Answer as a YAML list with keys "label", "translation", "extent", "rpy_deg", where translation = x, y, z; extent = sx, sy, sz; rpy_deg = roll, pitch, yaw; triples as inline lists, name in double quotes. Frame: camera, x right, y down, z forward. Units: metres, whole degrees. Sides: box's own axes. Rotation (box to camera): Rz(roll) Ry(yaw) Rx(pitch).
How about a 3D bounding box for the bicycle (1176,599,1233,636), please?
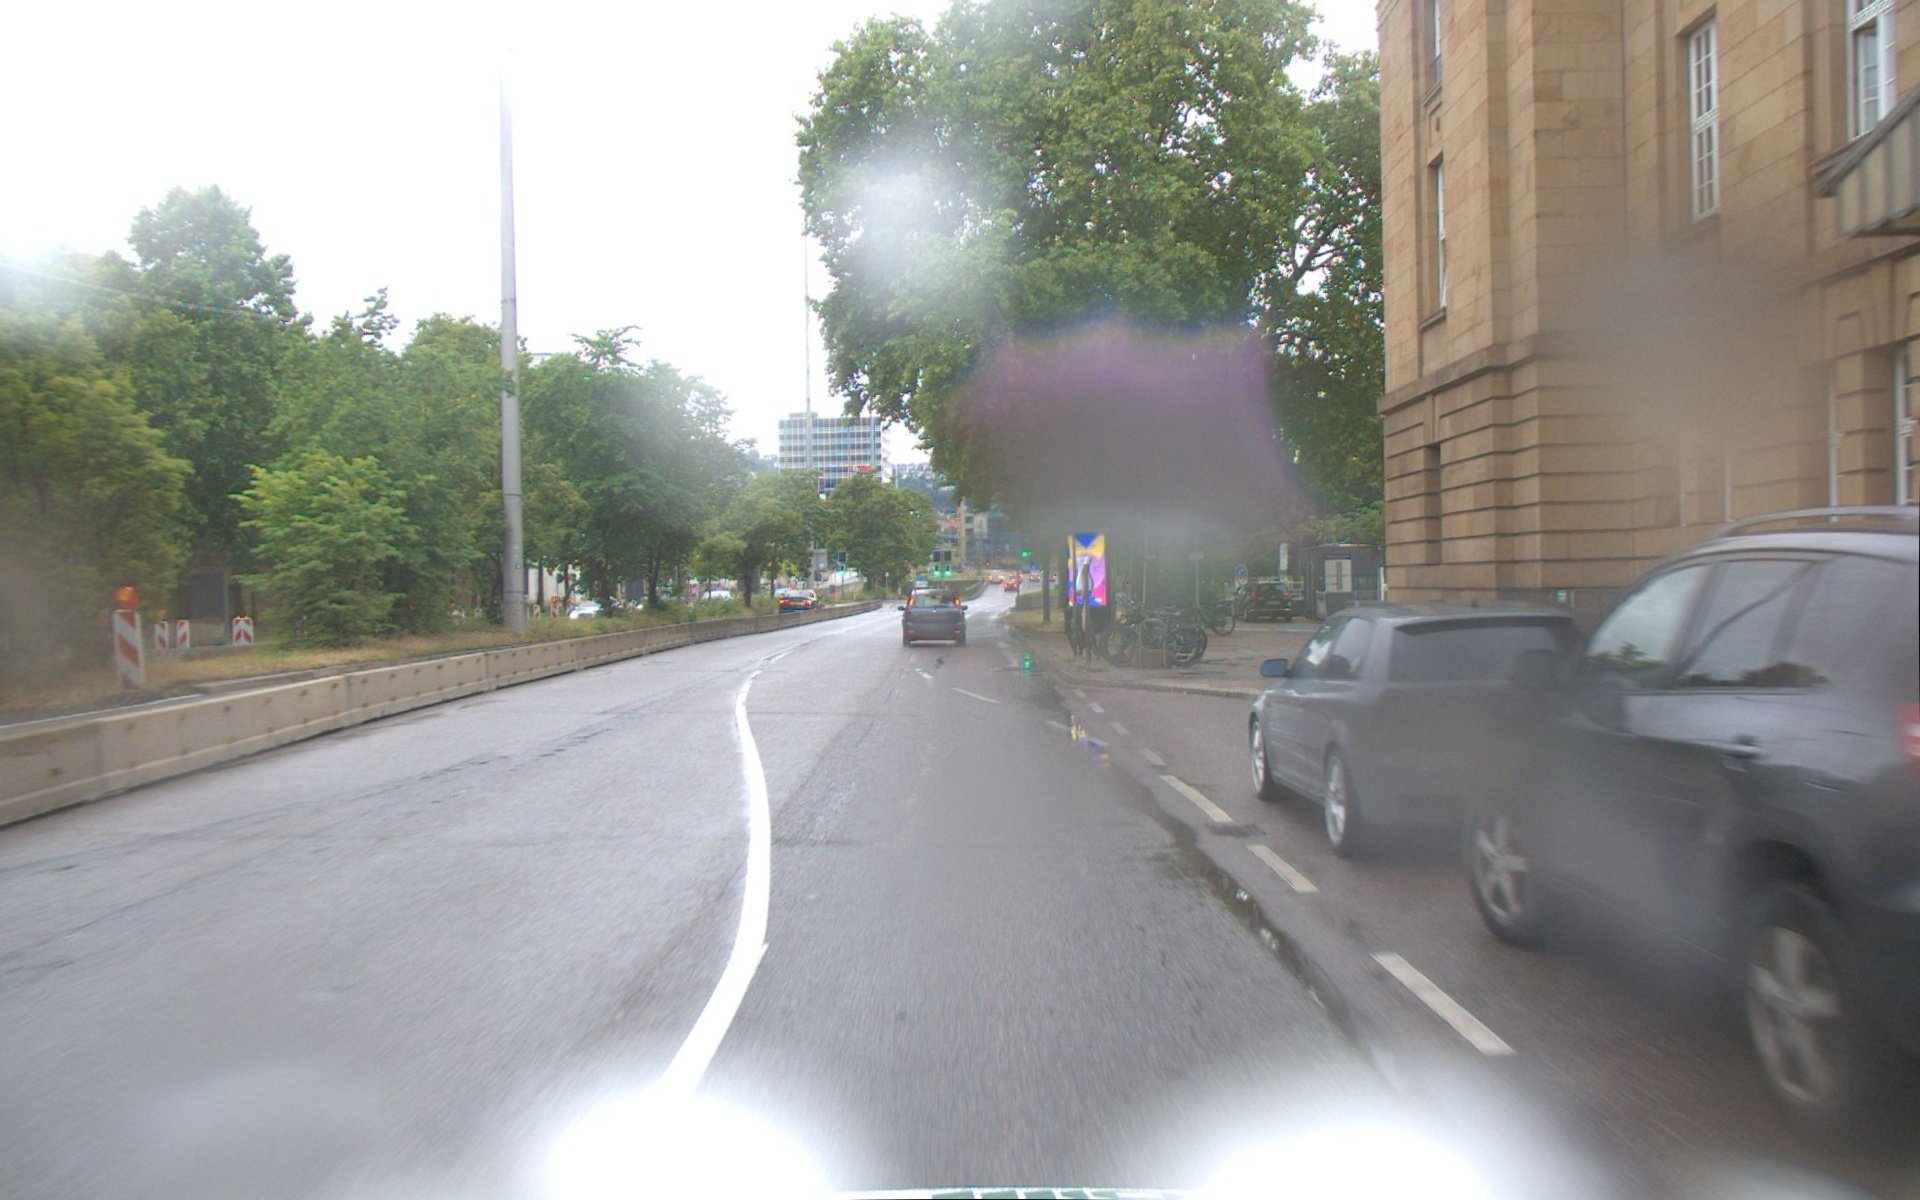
- label: "bicycle"
  translation: [7.102, 0.514, 48.068]
  extent: [1.606, 1.038, 0.575]
  rpy_deg: [1, 0, 5]

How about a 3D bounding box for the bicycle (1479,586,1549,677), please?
- label: "bicycle"
  translation: [8.006, 0.434, 23.948]
  extent: [0.444, 1.273, 1.599]
  rpy_deg: [1, 0, -1]

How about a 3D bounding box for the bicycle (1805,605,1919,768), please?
- label: "bicycle"
  translation: [7.533, 0.665, 13.399]
  extent: [0.454, 1.236, 1.691]
  rpy_deg: [-1, 0, -2]

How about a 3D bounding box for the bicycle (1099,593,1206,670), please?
- label: "bicycle"
  translation: [3.466, 0.569, 29.841]
  extent: [1.866, 1.356, 0.651]
  rpy_deg: [-1, 0, 2]

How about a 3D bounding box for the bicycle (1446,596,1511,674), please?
- label: "bicycle"
  translation: [7.768, 0.515, 24.827]
  extent: [0.345, 1.099, 1.789]
  rpy_deg: [-3, -1, 0]

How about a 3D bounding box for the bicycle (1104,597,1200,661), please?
- label: "bicycle"
  translation: [3.399, 0.512, 29.413]
  extent: [1.644, 1.109, 0.651]
  rpy_deg: [-1, 0, 2]

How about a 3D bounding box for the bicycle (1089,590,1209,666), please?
- label: "bicycle"
  translation: [3.476, 0.506, 30.467]
  extent: [2.145, 1.360, 0.651]
  rpy_deg: [-1, 0, 2]

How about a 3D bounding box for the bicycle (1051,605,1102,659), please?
- label: "bicycle"
  translation: [2.237, 0.598, 31.613]
  extent: [0.655, 0.984, 1.638]
  rpy_deg: [-1, 0, 15]

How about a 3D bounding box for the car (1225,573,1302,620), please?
- label: "car"
  translation: [11.518, -0.188, 63.119]
  extent: [1.953, 1.637, 5.236]
  rpy_deg: [-1, 2, -1]

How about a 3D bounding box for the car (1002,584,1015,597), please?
- label: "car"
  translation: [6.819, -1.320, 234.034]
  extent: [1.703, 1.802, 4.001]
  rpy_deg: [-3, -1, 3]

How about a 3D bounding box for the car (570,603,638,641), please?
- label: "car"
  translation: [-17.078, 1.037, 79.579]
  extent: [1.952, 1.653, 4.809]
  rpy_deg: [-3, -1, 2]

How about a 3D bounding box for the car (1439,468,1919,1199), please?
- label: "car"
  translation: [3.053, 0.627, 5.296]
  extent: [1.952, 1.812, 4.189]
  rpy_deg: [-1, 0, 2]

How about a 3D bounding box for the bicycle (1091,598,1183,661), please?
- label: "bicycle"
  translation: [3.280, 0.538, 30.718]
  extent: [1.644, 1.142, 0.602]
  rpy_deg: [-1, 0, 2]

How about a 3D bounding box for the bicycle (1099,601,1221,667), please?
- label: "bicycle"
  translation: [3.370, 0.565, 27.935]
  extent: [1.945, 1.078, 0.759]
  rpy_deg: [-1, 0, -3]

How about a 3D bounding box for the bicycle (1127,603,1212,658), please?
- label: "bicycle"
  translation: [3.977, 0.582, 31.453]
  extent: [1.556, 1.012, 0.525]
  rpy_deg: [-1, 0, 2]

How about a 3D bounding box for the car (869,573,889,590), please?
- label: "car"
  translation: [-8.402, -1.889, 171.974]
  extent: [1.954, 1.661, 3.998]
  rpy_deg: [-1, 0, -3]

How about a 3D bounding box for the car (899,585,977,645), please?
- label: "car"
  translation: [-0.617, 0.397, 43.297]
  extent: [1.807, 1.441, 3.836]
  rpy_deg: [-2, -1, -4]

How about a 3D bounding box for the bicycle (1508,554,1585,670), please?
- label: "bicycle"
  translation: [8.069, 0.152, 22.814]
  extent: [0.444, 1.542, 1.599]
  rpy_deg: [1, 0, -1]

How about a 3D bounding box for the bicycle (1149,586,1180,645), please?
- label: "bicycle"
  translation: [4.465, 0.338, 36.024]
  extent: [0.592, 1.218, 1.906]
  rpy_deg: [-3, -1, 8]

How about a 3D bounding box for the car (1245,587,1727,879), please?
- label: "car"
  translation: [3.071, 0.702, 10.502]
  extent: [1.892, 1.504, 3.703]
  rpy_deg: [-1, 0, 0]
